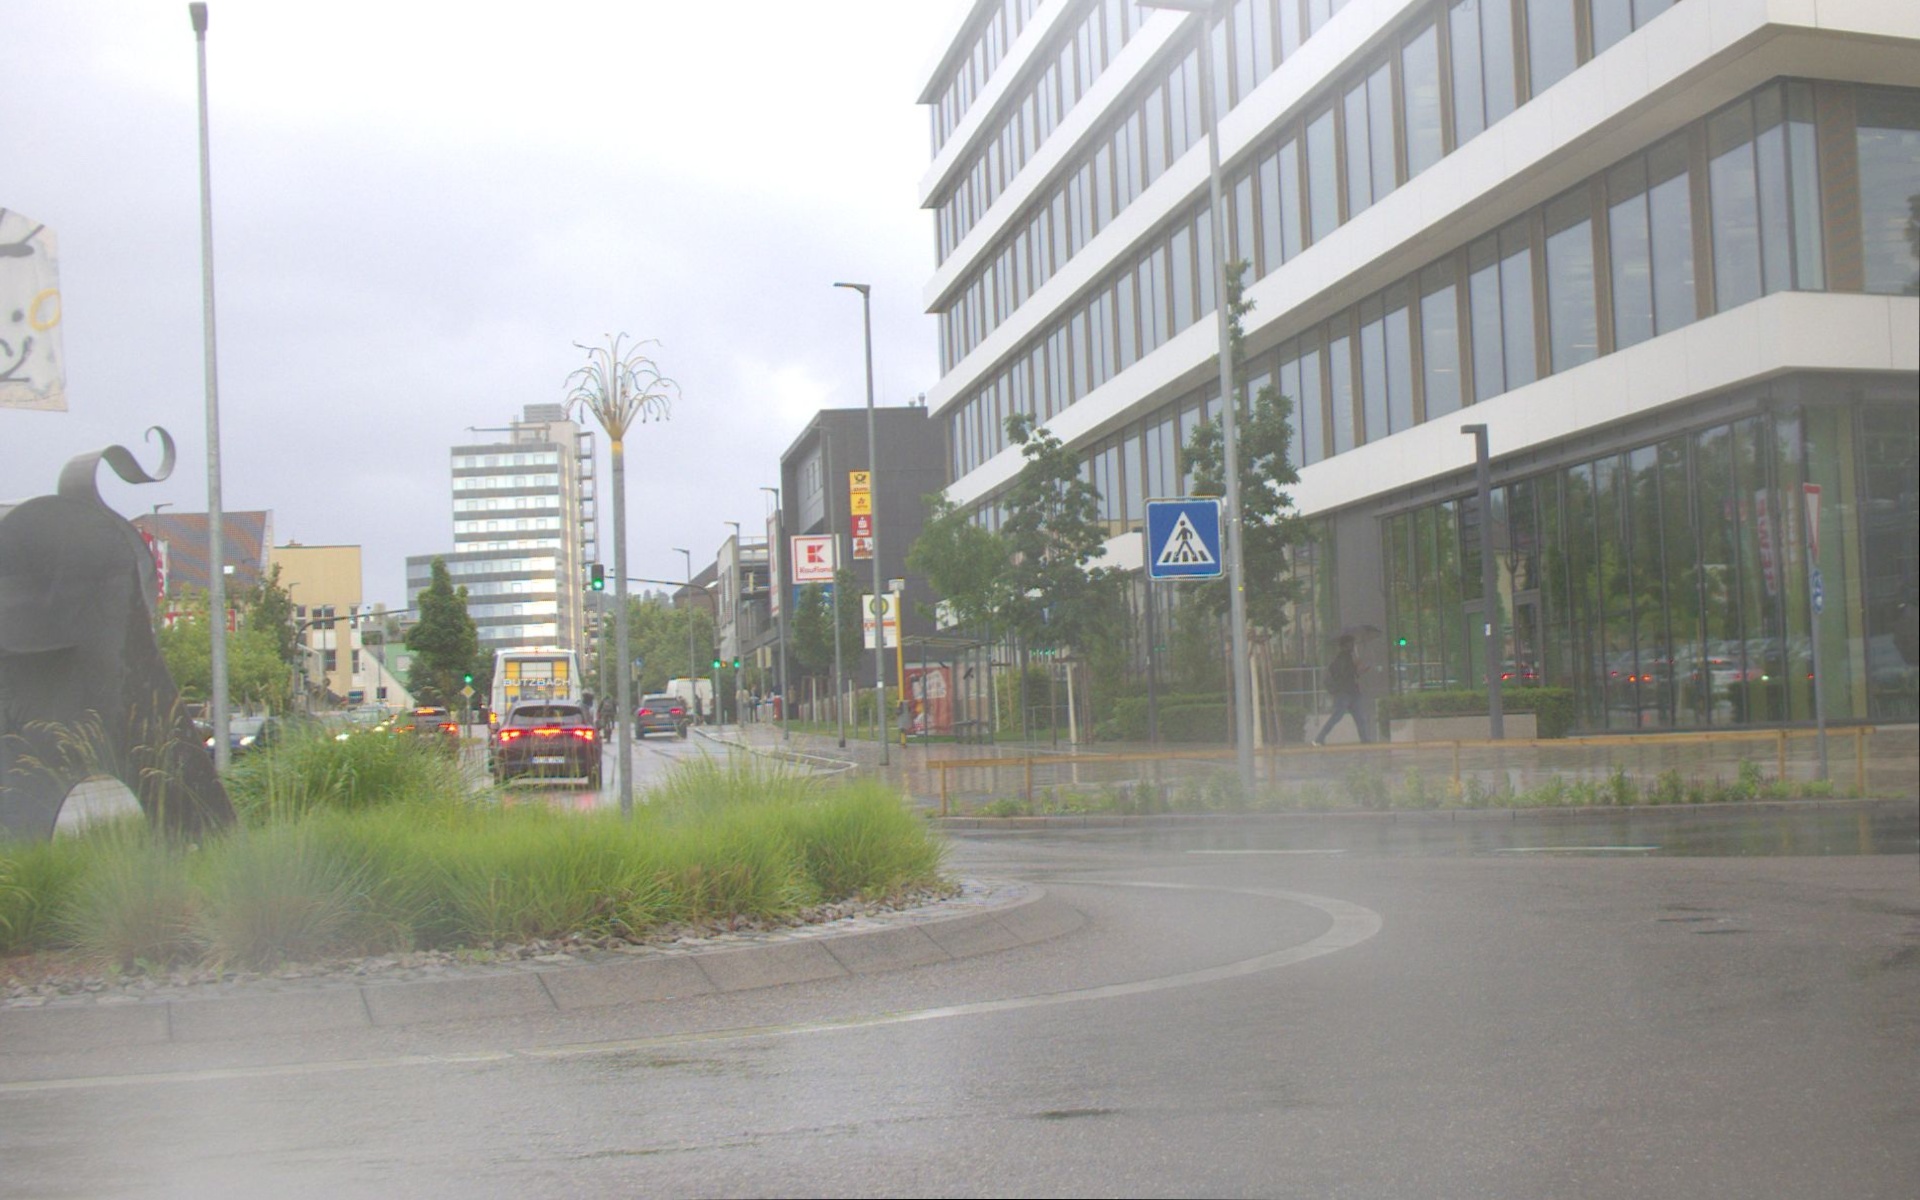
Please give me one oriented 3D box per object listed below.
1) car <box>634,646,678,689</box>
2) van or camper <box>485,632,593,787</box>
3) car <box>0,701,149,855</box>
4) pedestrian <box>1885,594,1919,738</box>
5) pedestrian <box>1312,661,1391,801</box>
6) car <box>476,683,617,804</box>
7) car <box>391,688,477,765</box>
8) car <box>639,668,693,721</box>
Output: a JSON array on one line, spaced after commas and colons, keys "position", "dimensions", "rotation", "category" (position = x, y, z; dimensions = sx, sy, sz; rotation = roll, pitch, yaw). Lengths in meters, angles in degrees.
[{"position": [-14.174, 3.140, 160.540], "dimensions": [1.993, 1.853, 4.001], "rotation": [1, 1, -5], "category": "car"}, {"position": [-8.963, 2.263, 72.869], "dimensions": [1.993, 3.077, 5.103], "rotation": [-2, 0, -9], "category": "van or camper"}, {"position": [-9.911, 1.704, 32.009], "dimensions": [1.995, 1.378, 5.338], "rotation": [-2, -1, 20], "category": "car"}, {"position": [13.727, 0.923, 48.428], "dimensions": [0.929, 2.007, 0.893], "rotation": [-1, -2, -34], "category": "pedestrian"}, {"position": [6.116, 2.044, 53.735], "dimensions": [1.002, 2.138, 0.932], "rotation": [-2, -1, -4], "category": "pedestrian"}, {"position": [-6.756, 2.320, 56.518], "dimensions": [1.993, 1.722, 4.001], "rotation": [-1, 1, -3], "category": "car"}, {"position": [-14.066, 3.367, 92.064], "dimensions": [1.993, 1.853, 4.001], "rotation": [1, 1, -5], "category": "car"}, {"position": [-11.255, 3.601, 131.661], "dimensions": [1.993, 1.853, 4.001], "rotation": [1, 1, -5], "category": "car"}]
